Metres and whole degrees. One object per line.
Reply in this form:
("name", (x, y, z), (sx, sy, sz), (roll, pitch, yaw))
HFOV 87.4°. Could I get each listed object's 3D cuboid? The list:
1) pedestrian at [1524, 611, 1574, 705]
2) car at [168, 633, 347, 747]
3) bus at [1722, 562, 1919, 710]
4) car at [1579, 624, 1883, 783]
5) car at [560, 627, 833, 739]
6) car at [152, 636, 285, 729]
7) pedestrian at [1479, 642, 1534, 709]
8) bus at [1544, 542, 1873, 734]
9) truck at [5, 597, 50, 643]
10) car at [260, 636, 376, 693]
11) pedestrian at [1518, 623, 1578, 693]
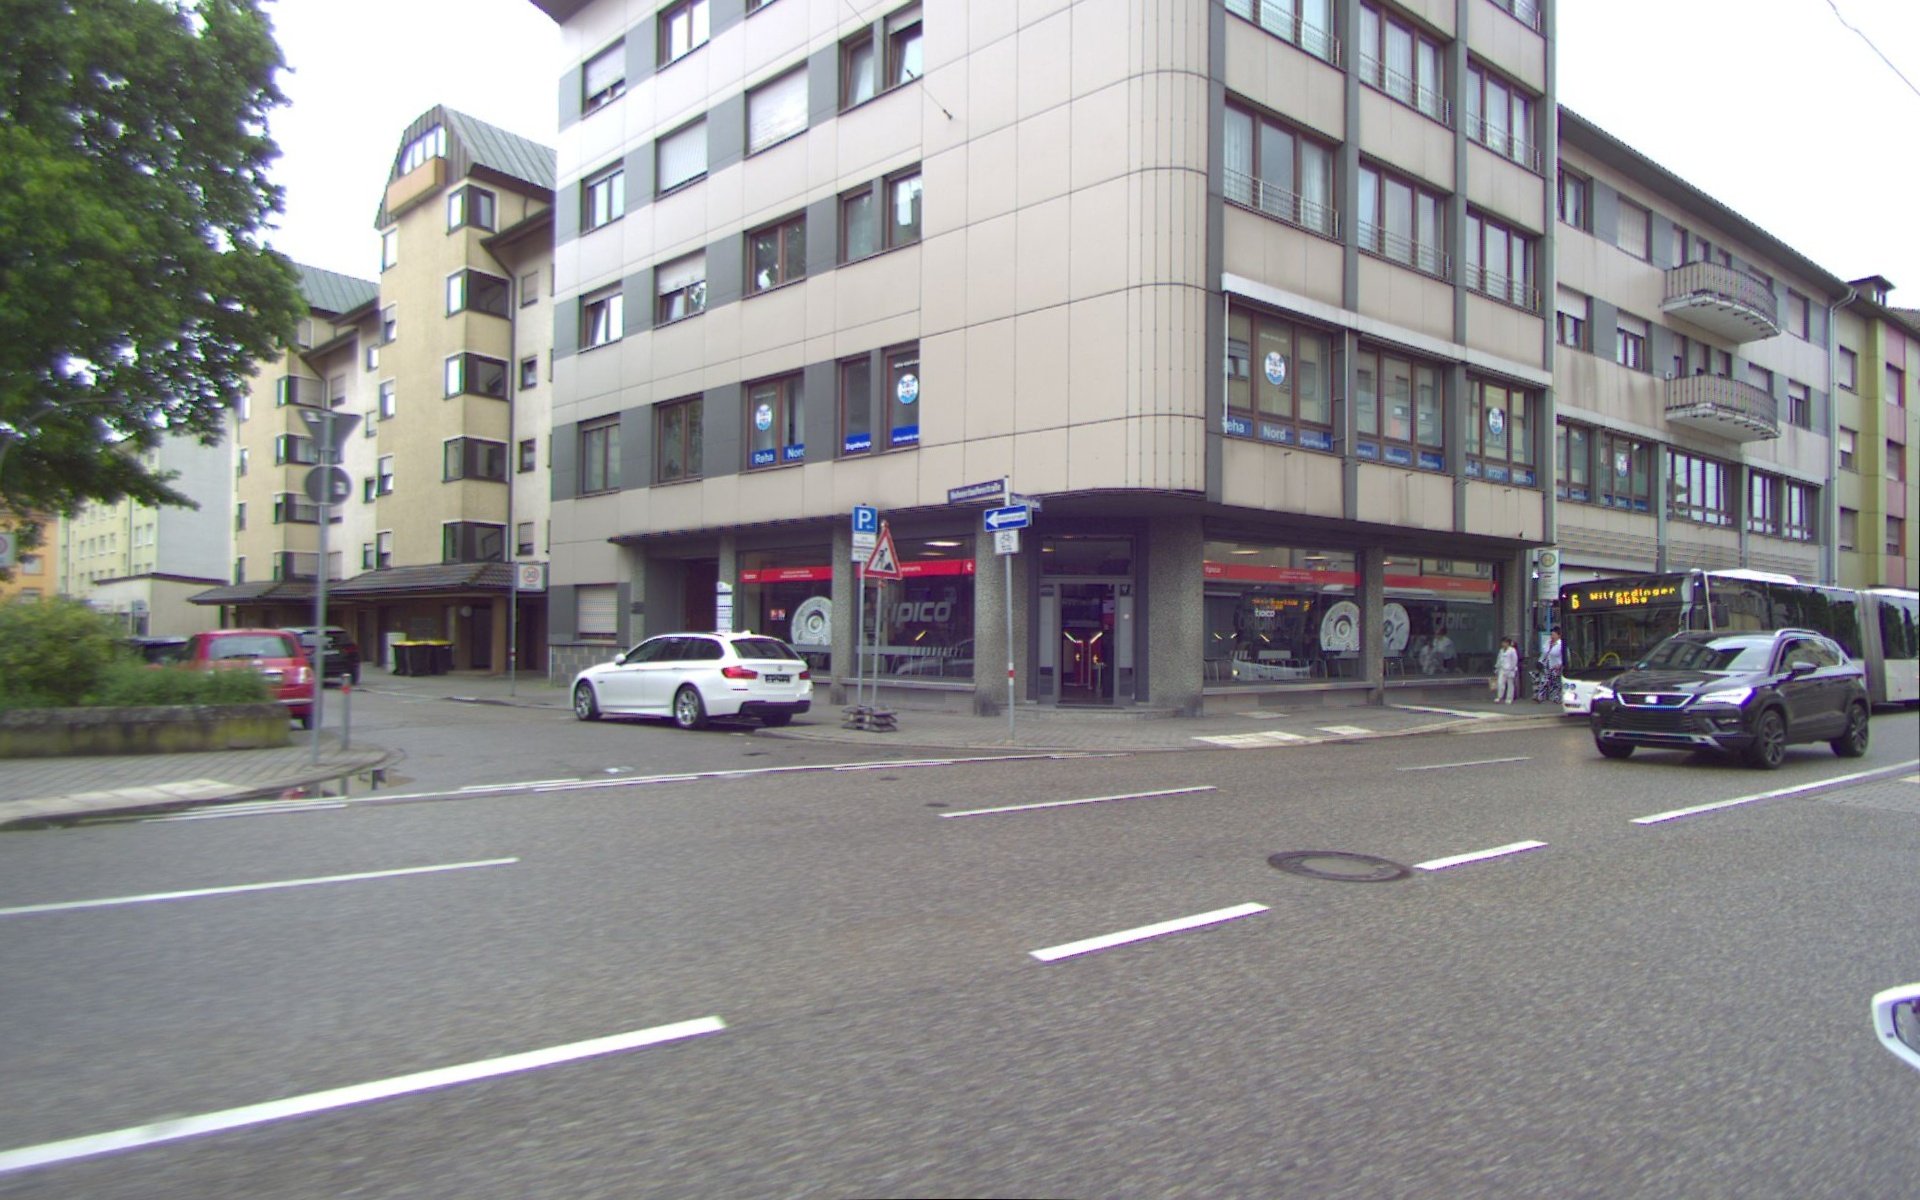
("pedestrian", (13.067, 1.284, 22.293), (0.768, 2.040, 0.675), (2, -2, -32))
("car", (-10.749, 1.272, 15.288), (1.682, 1.502, 3.481), (2, -3, -44))
("bus", (22.937, 0.951, 25.738), (9.199, 3.230, 2.708), (2, -2, -35))
("car", (9.854, 1.163, 12.745), (4.371, 1.684, 1.733), (1, -2, -34))
("car", (-4.370, 1.237, 16.329), (4.571, 1.553, 1.899), (-1, -2, 38))
("car", (-13.694, 1.443, 18.489), (1.680, 1.502, 3.485), (2, -3, -41))
("pedestrian", (11.874, 1.619, 21.836), (0.778, 1.414, 0.764), (2, -2, -32))
("bus", (15.557, 0.803, 20.575), (8.822, 3.230, 2.741), (2, -2, -35))
("truck", (-68.359, 1.495, 73.603), (4.544, 3.222, 1.989), (-1, -2, 42))
("car", (-19.527, 1.903, 30.488), (3.943, 1.572, 1.990), (-1, -3, 42))
("pedestrian", (13.724, 1.341, 23.470), (0.825, 1.610, 0.940), (2, -2, -32))
